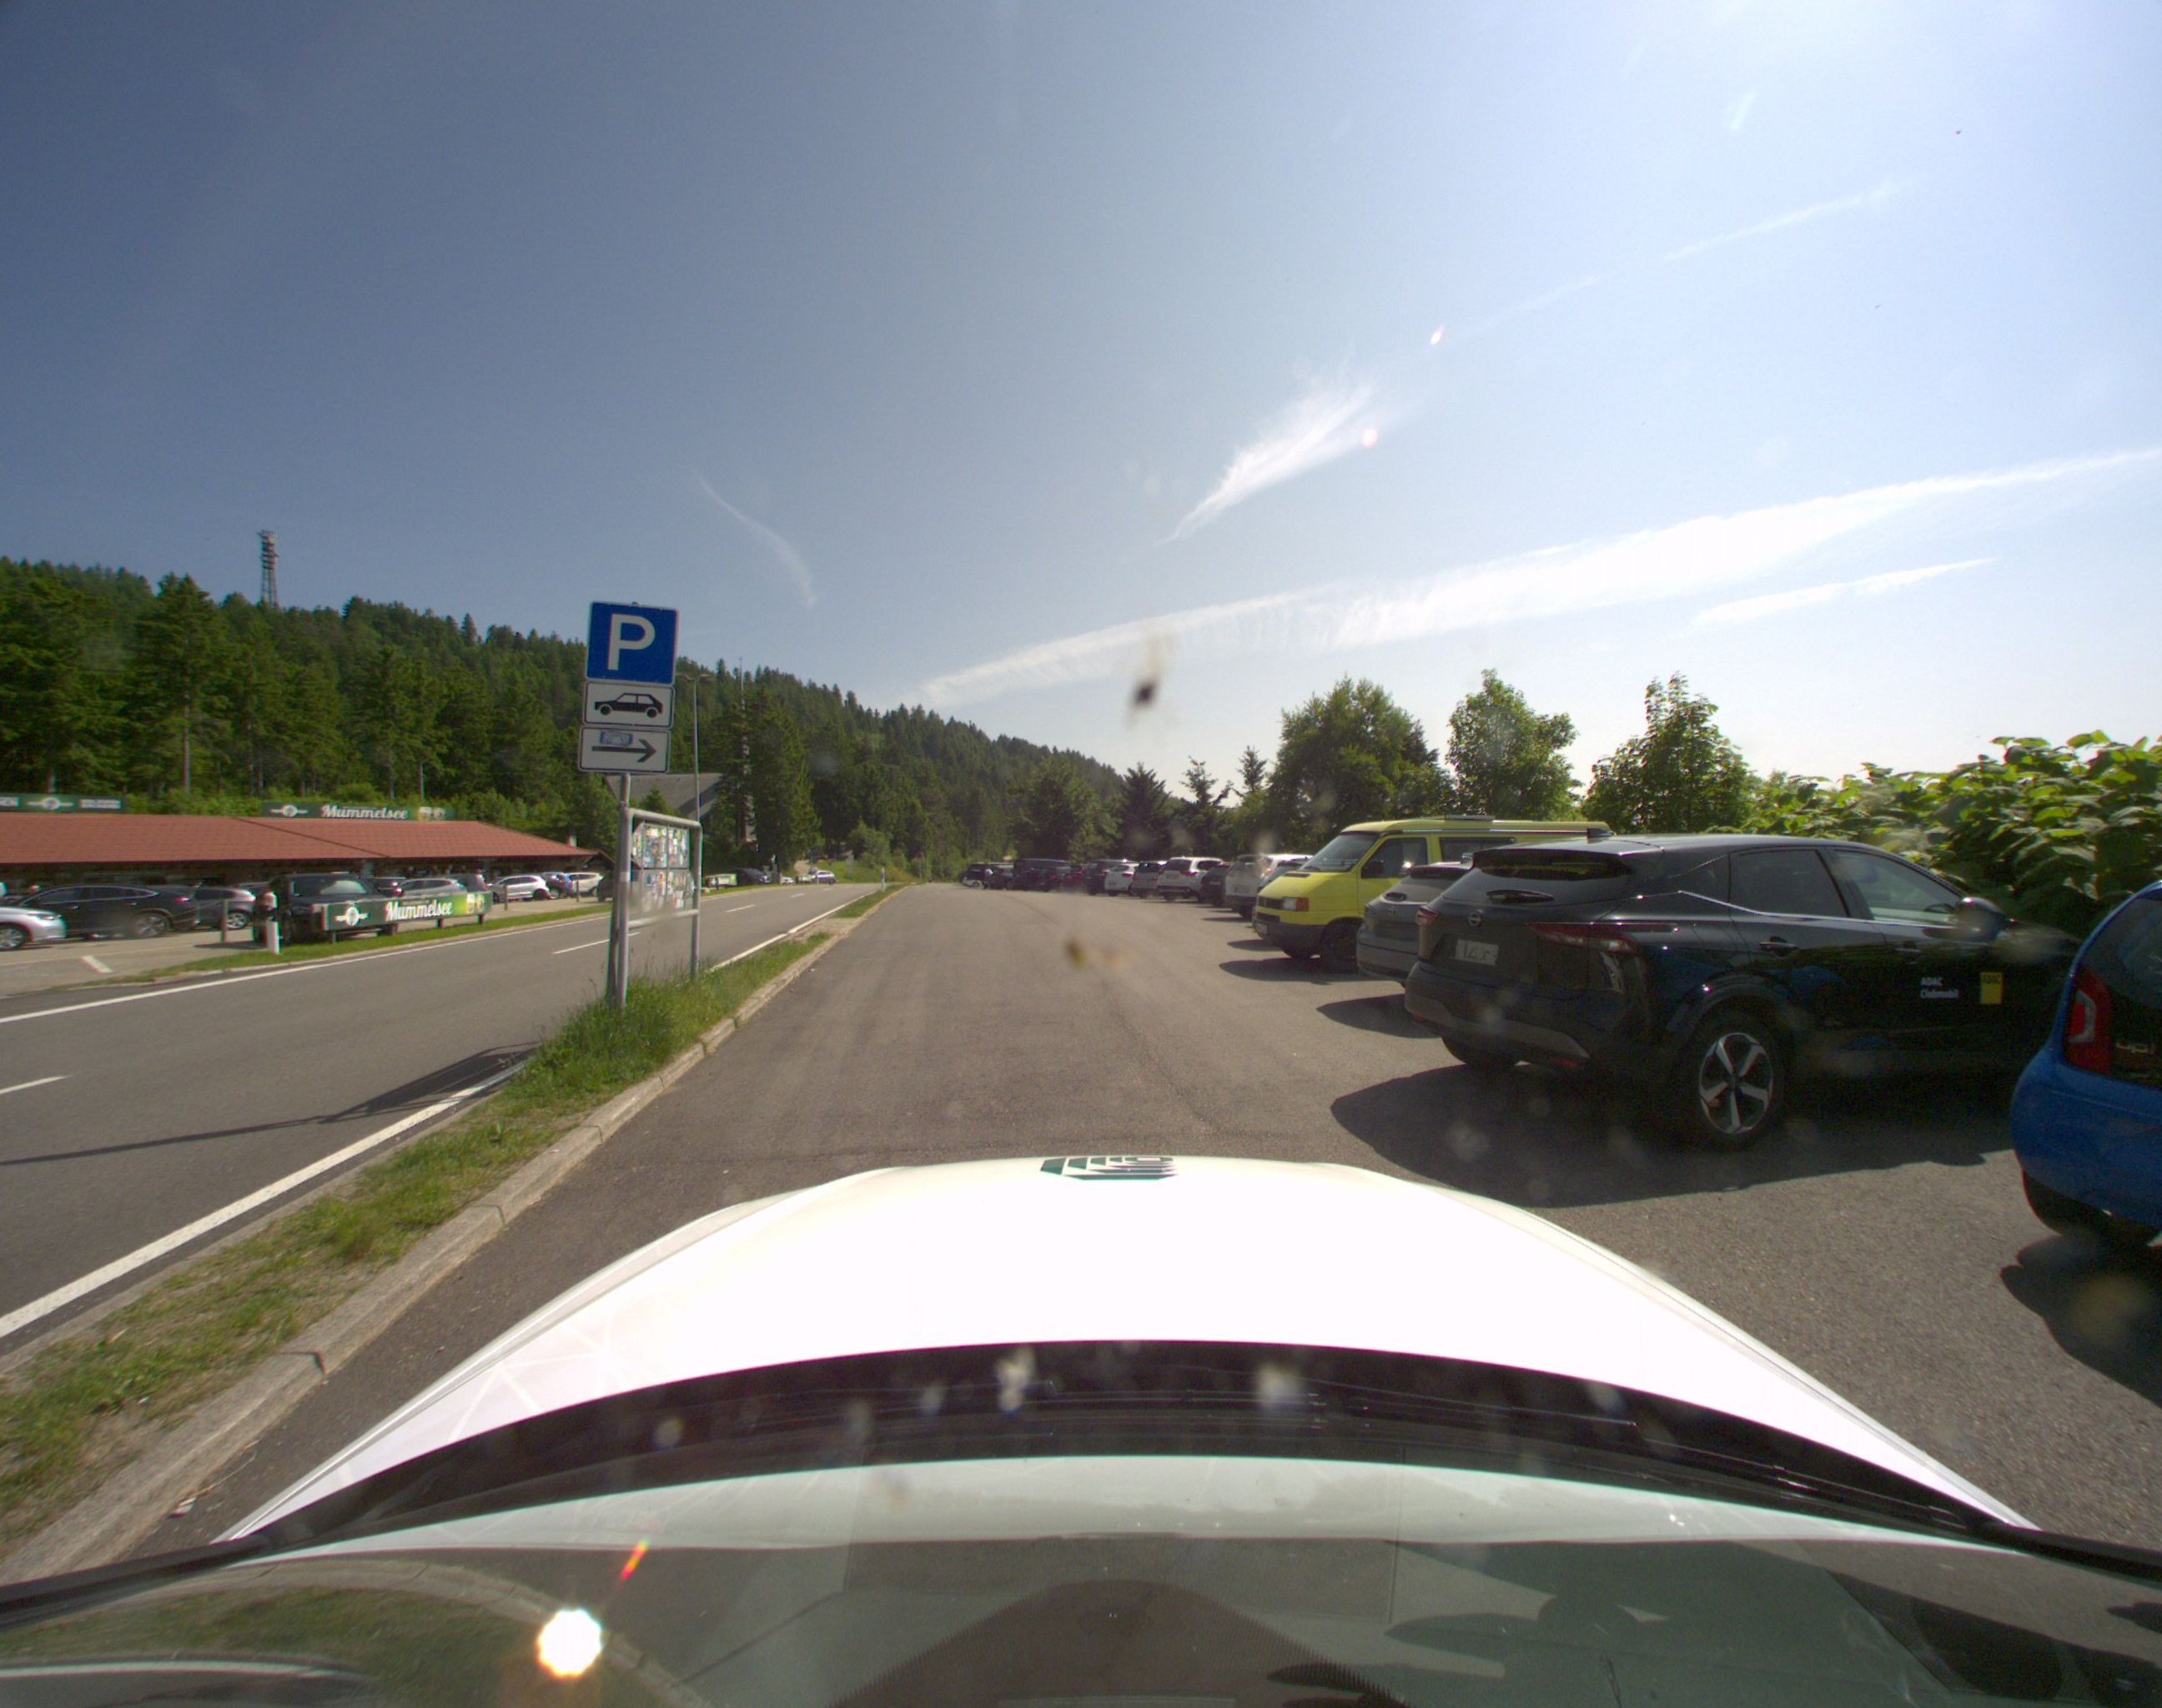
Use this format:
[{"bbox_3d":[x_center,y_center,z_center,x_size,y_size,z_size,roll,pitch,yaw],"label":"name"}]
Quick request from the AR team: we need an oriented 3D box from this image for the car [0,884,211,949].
[{"bbox_3d":[-27.231,1.668,22.534,1.889,1.430,4.026,-2,1,34],"label":"car"}]

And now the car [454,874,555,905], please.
[{"bbox_3d":[-31.090,1.899,44.036,1.883,1.420,4.026,-2,0,35],"label":"car"}]

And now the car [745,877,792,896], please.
[{"bbox_3d":[-26.928,2.803,70.143,3.918,1.441,1.755,-2,0,33],"label":"car"}]

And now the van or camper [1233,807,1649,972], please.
[{"bbox_3d":[4.889,0.487,11.356,5.088,2.013,1.876,2,0,-9],"label":"van or camper"}]

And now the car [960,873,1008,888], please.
[{"bbox_3d":[-9.802,2.680,82.484,4.476,1.299,1.568,4,-2,-26],"label":"car"}]

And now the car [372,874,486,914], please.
[{"bbox_3d":[-30.174,1.822,37.784,1.713,1.588,3.757,-2,1,35],"label":"car"}]

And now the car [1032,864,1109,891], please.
[{"bbox_3d":[-0.548,1.328,45.349,4.018,1.415,1.725,2,-2,-37],"label":"car"}]

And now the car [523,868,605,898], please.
[{"bbox_3d":[-33.318,1.865,52.612,1.753,1.672,4.057,-4,0,34],"label":"car"}]

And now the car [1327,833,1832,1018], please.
[{"bbox_3d":[4.771,0.622,8.088,4.147,1.589,1.701,0,0,-7],"label":"car"}]

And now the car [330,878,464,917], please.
[{"bbox_3d":[-29.368,1.809,35.078,1.789,1.371,4.026,-2,1,35],"label":"car"}]

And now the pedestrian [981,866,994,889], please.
[{"bbox_3d":[-5.997,1.510,52.302,0.772,1.402,0.668,-2,0,-4],"label":"pedestrian"}]

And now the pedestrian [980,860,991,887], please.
[{"bbox_3d":[-6.386,1.324,54.447,0.576,1.761,0.633,2,-2,2],"label":"pedestrian"}]

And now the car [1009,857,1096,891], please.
[{"bbox_3d":[-1.667,1.191,48.217,4.786,1.880,1.948,2,-2,-29],"label":"car"}]

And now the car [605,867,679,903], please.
[{"bbox_3d":[-21.028,1.470,38.946,3.949,1.552,1.794,-2,0,41],"label":"car"}]

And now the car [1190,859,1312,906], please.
[{"bbox_3d":[5.800,0.977,27.636,4.071,1.461,1.873,3,-2,-39],"label":"car"}]

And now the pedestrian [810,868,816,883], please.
[{"bbox_3d":[-31.425,2.517,95.574,0.654,1.799,0.639,-1,0,-17],"label":"pedestrian"}]

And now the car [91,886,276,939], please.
[{"bbox_3d":[-28.005,1.763,25.529,1.567,1.321,3.663,-2,1,33],"label":"car"}]

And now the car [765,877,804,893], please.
[{"bbox_3d":[-29.819,3.111,81.957,1.565,1.428,3.393,-2,1,30],"label":"car"}]

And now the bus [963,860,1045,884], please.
[{"bbox_3d":[-12.347,2.904,131.008,12.793,3.578,2.987,0,1,6],"label":"bus"}]

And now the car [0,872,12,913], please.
[{"bbox_3d":[-41.644,1.496,29.160,1.886,1.530,3.906,-2,1,33],"label":"car"}]

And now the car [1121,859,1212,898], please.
[{"bbox_3d":[3.696,1.041,34.795,1.797,1.549,4.024,0,-2,42],"label":"car"}]

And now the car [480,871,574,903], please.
[{"bbox_3d":[-31.855,1.899,46.919,1.974,1.574,4.026,-2,0,35],"label":"car"}]

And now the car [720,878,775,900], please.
[{"bbox_3d":[-26.367,2.736,64.335,4.157,1.634,1.800,-2,-2,29],"label":"car"}]

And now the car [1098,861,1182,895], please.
[{"bbox_3d":[2.761,1.105,37.656,1.745,1.476,4.024,0,-2,42],"label":"car"}]

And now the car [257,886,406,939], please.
[{"bbox_3d":[-29.022,2.201,31.623,1.802,1.704,4.025,-2,1,40],"label":"car"}]

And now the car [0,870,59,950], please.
[{"bbox_3d":[-27.197,1.413,18.712,1.811,1.863,4.559,-2,1,37],"label":"car"}]

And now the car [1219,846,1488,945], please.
[{"bbox_3d":[4.907,0.681,14.858,4.355,1.487,1.804,-2,0,-13],"label":"car"}]

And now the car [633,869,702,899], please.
[{"bbox_3d":[-22.920,1.652,45.146,4.007,1.567,1.751,-2,-1,36],"label":"car"}]

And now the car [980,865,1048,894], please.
[{"bbox_3d":[-4.404,1.698,54.116,4.017,1.662,1.977,5,-4,-37],"label":"car"}]

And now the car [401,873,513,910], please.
[{"bbox_3d":[-31.025,1.827,40.567,1.875,1.545,4.026,-2,1,36],"label":"car"}]

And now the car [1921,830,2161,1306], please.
[{"bbox_3d":[5.202,0.718,2.693,3.580,1.496,1.642,2,-2,-9],"label":"car"}]

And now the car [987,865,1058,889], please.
[{"bbox_3d":[-3.678,1.438,51.241,4.013,1.443,1.821,2,-2,-31],"label":"car"}]

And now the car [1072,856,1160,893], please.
[{"bbox_3d":[1.775,1.032,39.782,1.966,1.695,4.299,0,-2,42],"label":"car"}]

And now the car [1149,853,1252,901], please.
[{"bbox_3d":[4.623,0.859,31.132,1.840,1.695,4.252,0,-1,42],"label":"car"}]

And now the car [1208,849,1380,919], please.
[{"bbox_3d":[5.543,0.794,21.094,4.197,1.650,1.874,2,-2,-30],"label":"car"}]

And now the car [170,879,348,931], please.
[{"bbox_3d":[-28.646,1.720,28.515,1.694,1.486,4.106,-2,1,35],"label":"car"}]

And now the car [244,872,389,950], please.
[{"bbox_3d":[-17.889,1.246,19.008,4.138,1.540,1.819,-2,1,38],"label":"car"}]

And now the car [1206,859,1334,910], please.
[{"bbox_3d":[5.882,0.940,25.223,3.820,1.459,1.645,2,-1,-33],"label":"car"}]

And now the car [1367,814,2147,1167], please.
[{"bbox_3d":[4.122,0.633,5.188,3.994,1.613,1.906,0,0,-15],"label":"car"}]

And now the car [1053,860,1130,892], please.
[{"bbox_3d":[0.598,1.174,43.088,1.840,1.590,4.024,0,-2,42],"label":"car"}]
